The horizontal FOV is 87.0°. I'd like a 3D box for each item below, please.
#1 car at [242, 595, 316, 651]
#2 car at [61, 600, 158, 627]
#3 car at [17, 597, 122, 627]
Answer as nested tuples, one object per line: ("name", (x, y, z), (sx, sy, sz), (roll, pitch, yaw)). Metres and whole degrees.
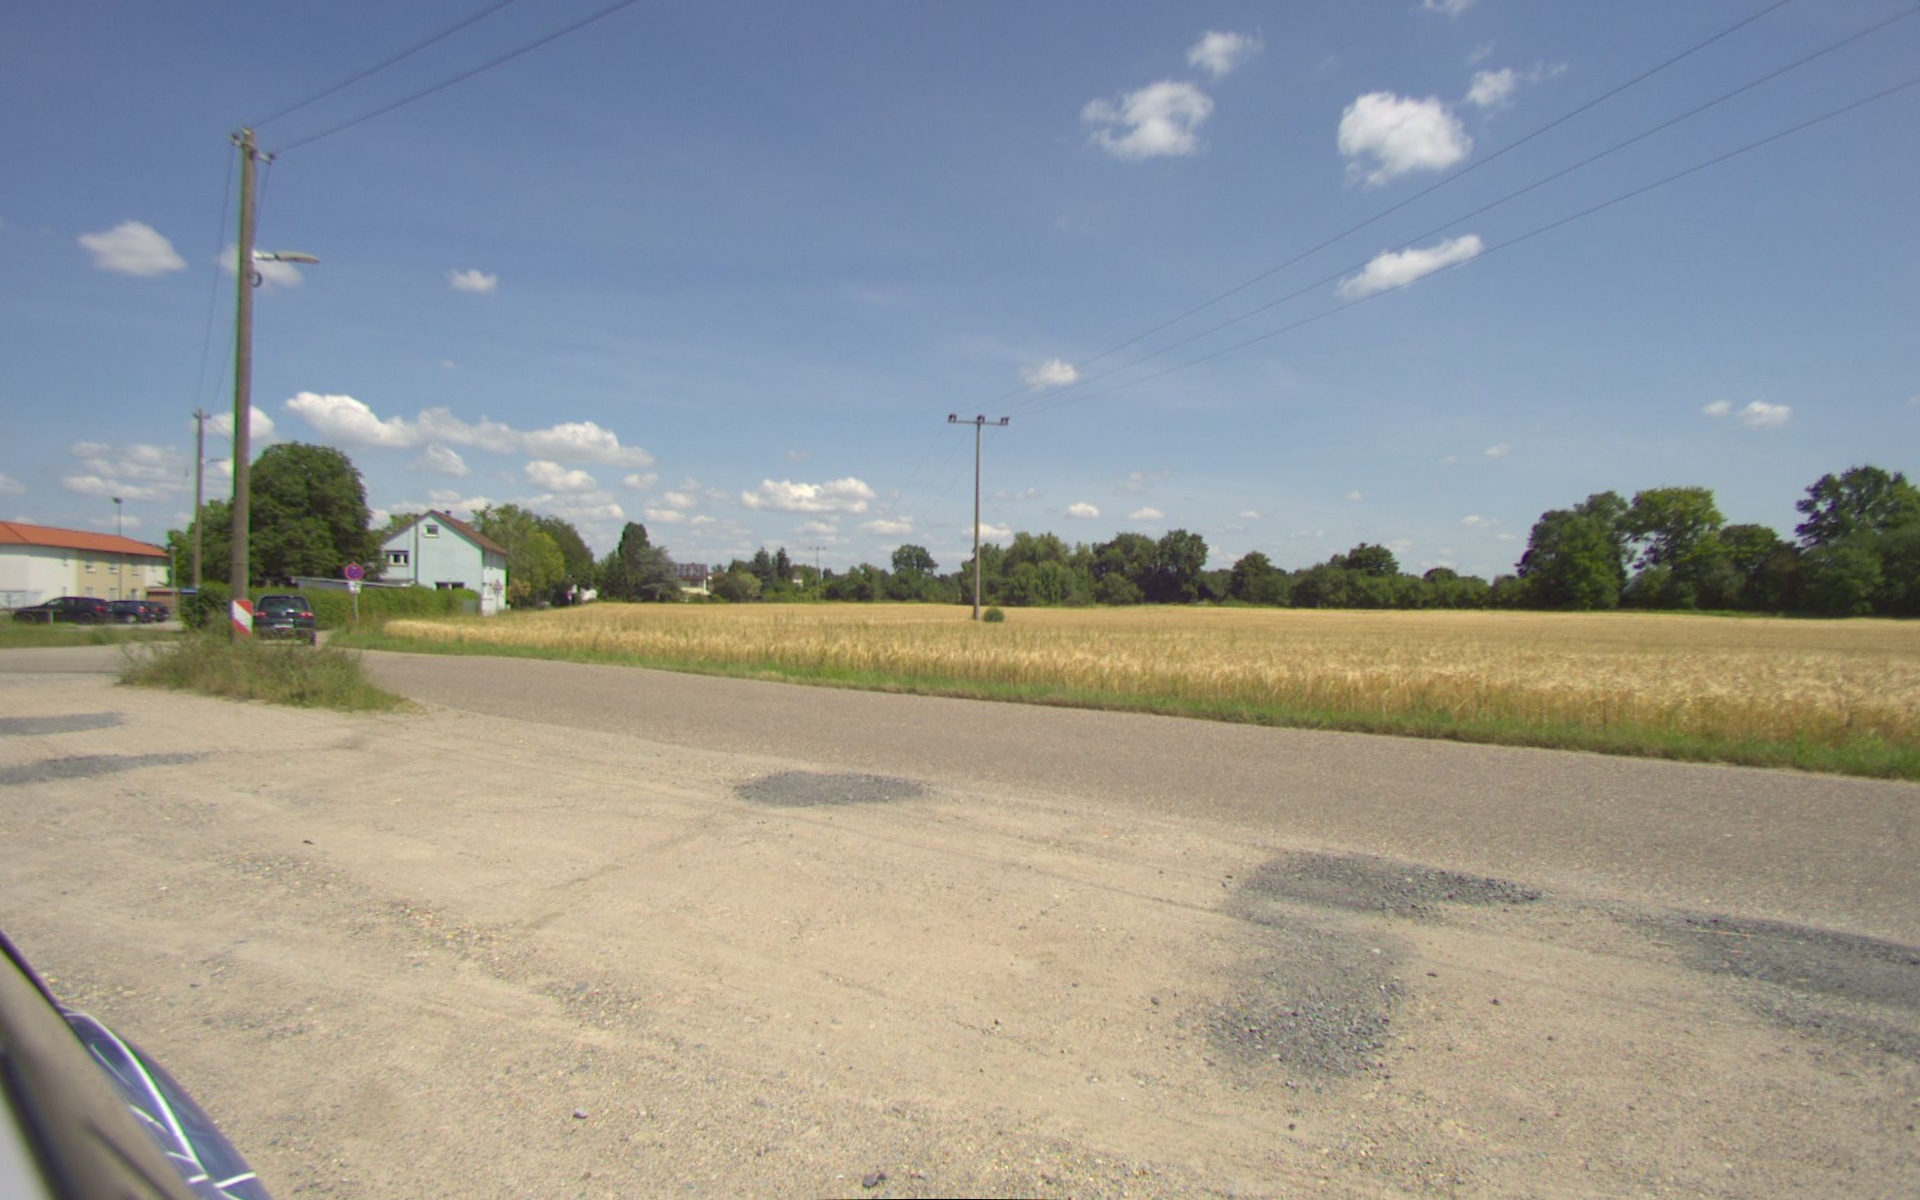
("car", (-22.408, 0.690, 33.246), (1.721, 1.691, 4.264), (0, 1, -38))
("car", (-52.230, 0.859, 62.257), (4.077, 1.627, 2.006), (1, -1, -18))
("car", (-51.299, 0.699, 58.413), (4.077, 1.627, 2.006), (1, -1, -18))
